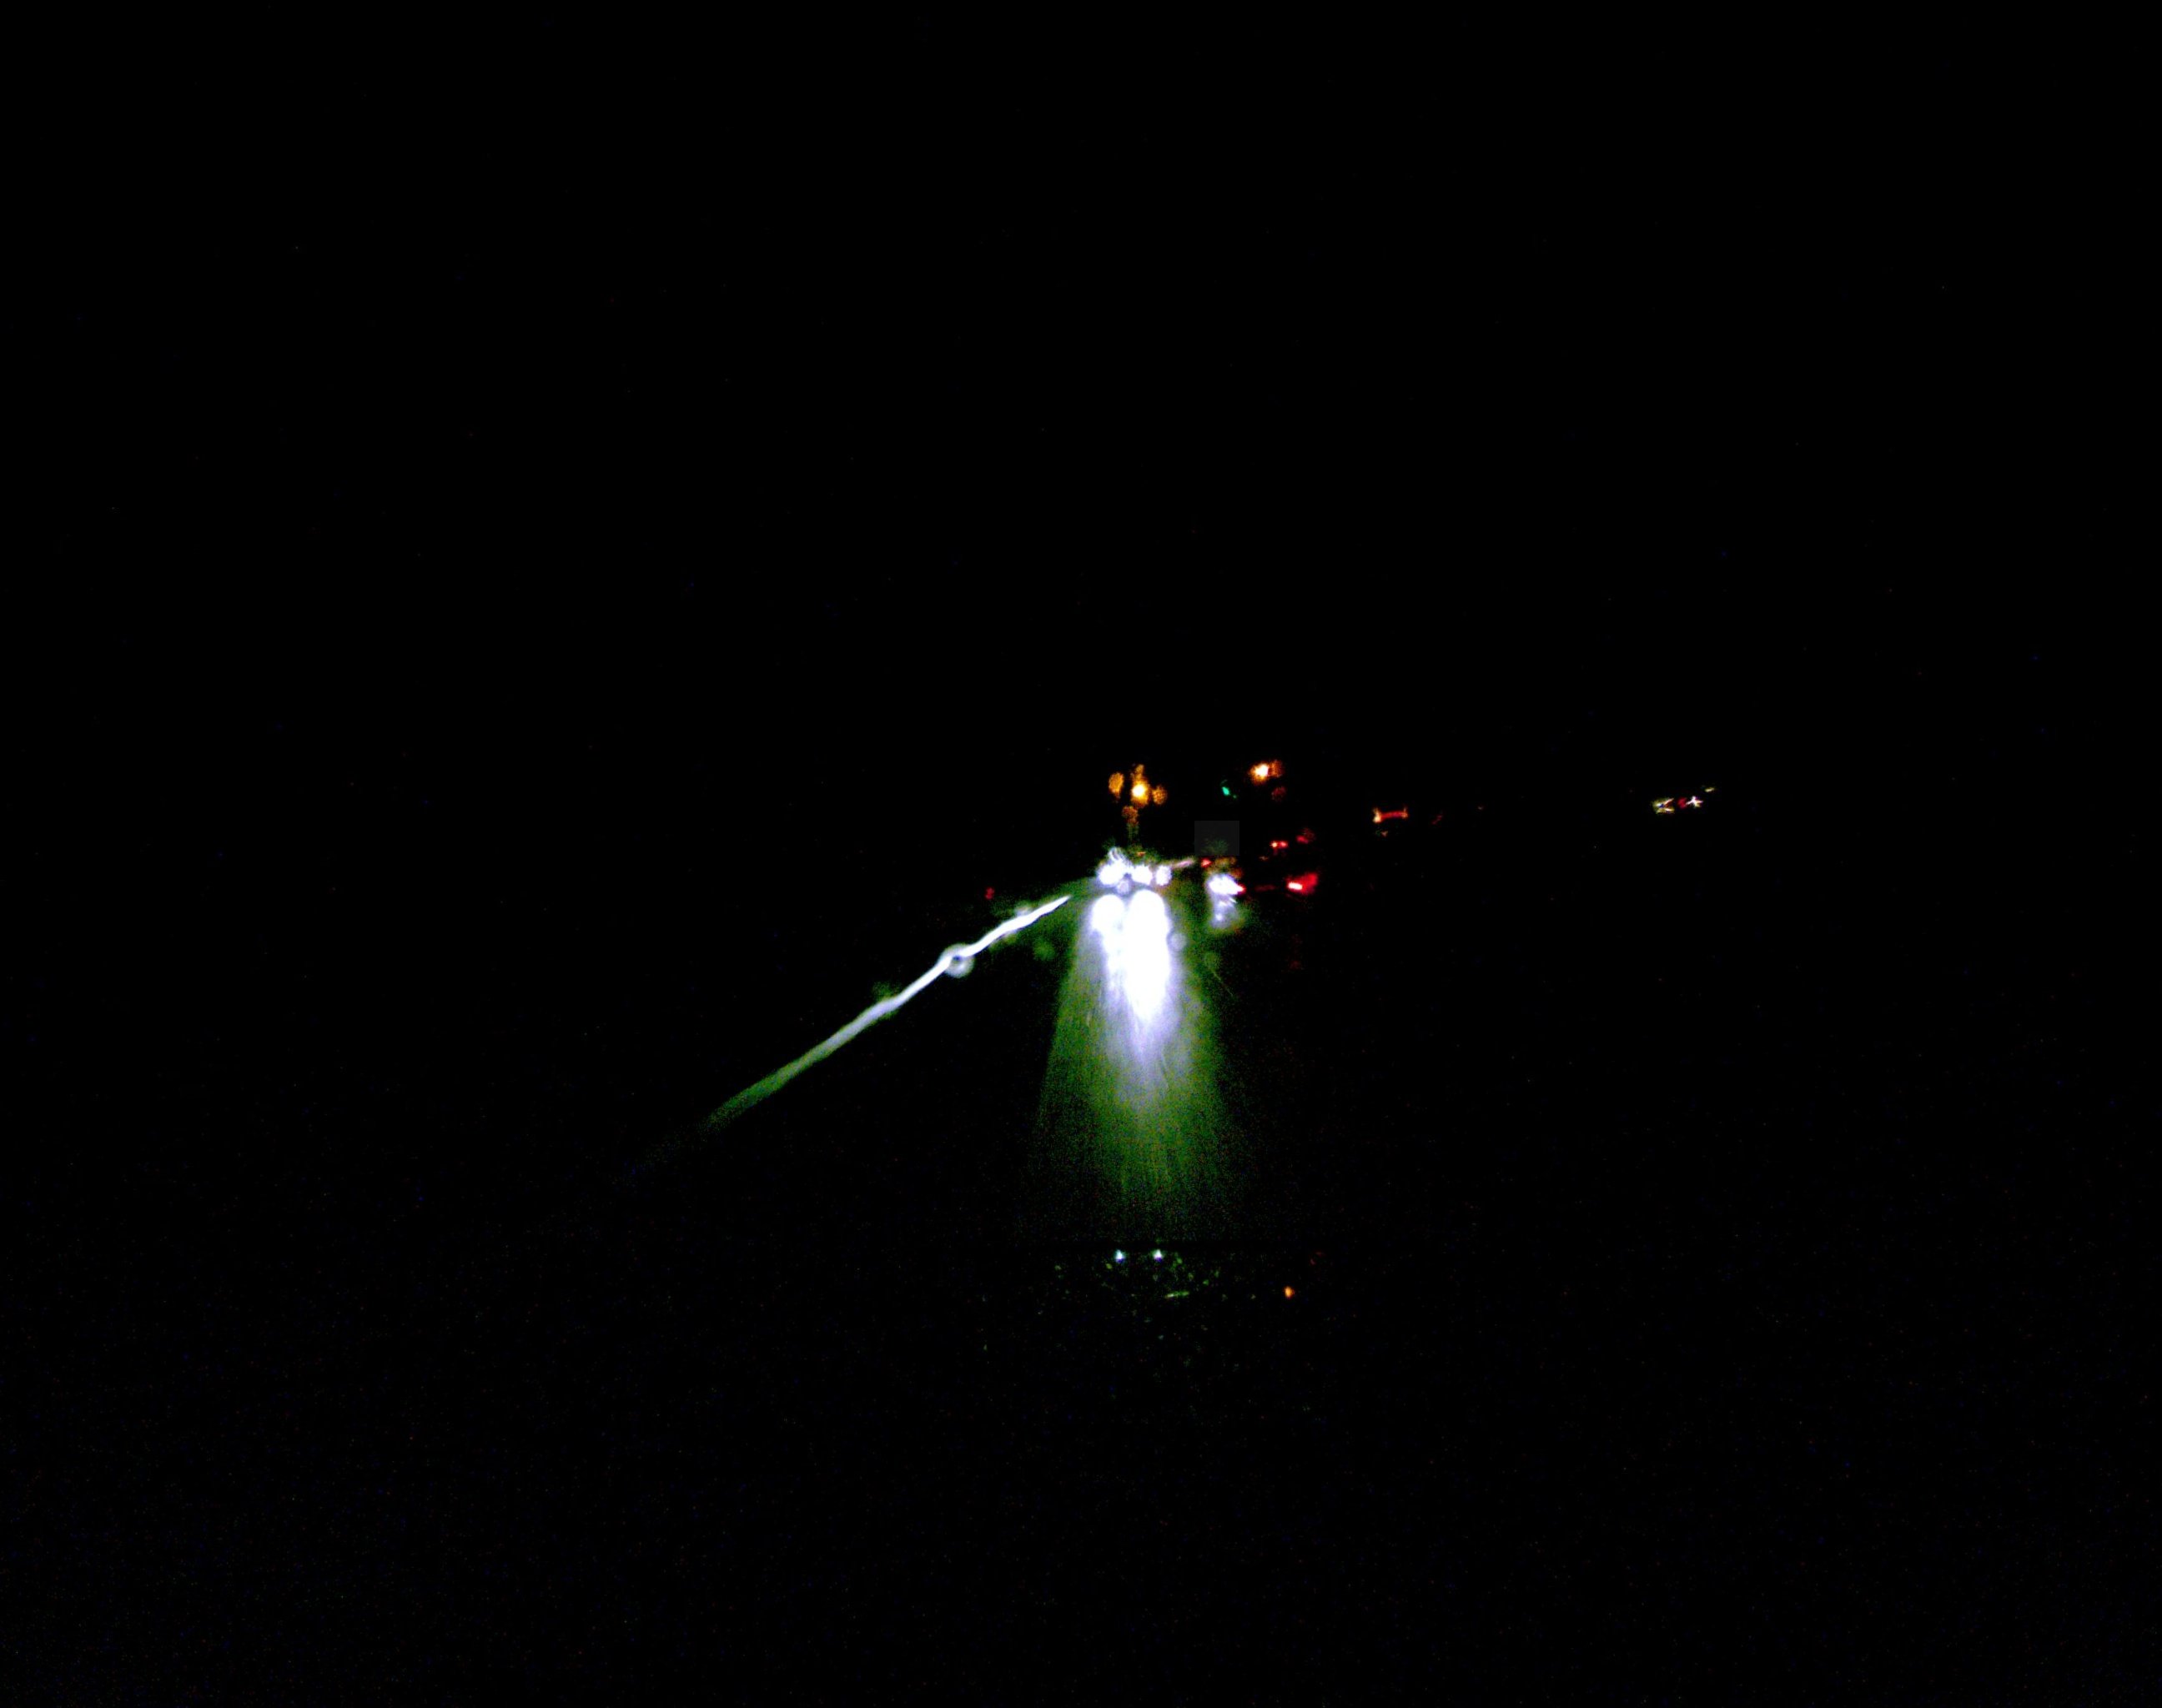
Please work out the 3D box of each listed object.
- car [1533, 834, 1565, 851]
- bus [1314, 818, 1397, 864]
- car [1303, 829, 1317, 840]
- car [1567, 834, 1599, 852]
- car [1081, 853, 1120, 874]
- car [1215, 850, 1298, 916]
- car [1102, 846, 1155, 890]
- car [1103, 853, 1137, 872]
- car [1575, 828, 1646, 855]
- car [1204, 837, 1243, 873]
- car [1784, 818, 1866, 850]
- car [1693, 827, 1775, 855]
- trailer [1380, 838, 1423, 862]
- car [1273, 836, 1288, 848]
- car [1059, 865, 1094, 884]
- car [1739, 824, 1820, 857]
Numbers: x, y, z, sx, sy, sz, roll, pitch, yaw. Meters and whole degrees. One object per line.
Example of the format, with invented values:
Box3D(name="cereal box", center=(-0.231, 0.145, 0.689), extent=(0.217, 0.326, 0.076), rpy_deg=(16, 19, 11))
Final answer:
Box3D(name="car", center=(46.661, -1.194, 75.781), extent=(1.855, 1.391, 4.046), rpy_deg=(3, 7, 44))
Box3D(name="bus", center=(25.779, -1.303, 72.346), extent=(2.900, 3.847, 13.053), rpy_deg=(-3, 2, -1))
Box3D(name="car", center=(35.563, -3.021, 117.876), extent=(1.697, 1.590, 3.805), rpy_deg=(-1, 2, 24))
Box3D(name="car", center=(48.642, -1.048, 73.544), extent=(1.855, 1.391, 4.046), rpy_deg=(3, 7, 44))
Box3D(name="car", center=(1.531, 0.726, 58.977), extent=(1.676, 1.557, 3.807), rpy_deg=(-2, 0, 23))
Box3D(name="car", center=(4.396, 0.654, 19.578), extent=(1.639, 1.501, 4.097), rpy_deg=(-1, 1, 7))
Box3D(name="car", center=(2.109, 0.574, 32.807), extent=(1.958, 1.711, 4.002), rpy_deg=(-2, 0, 7))
Box3D(name="car", center=(3.258, 0.714, 63.111), extent=(1.637, 1.390, 3.680), rpy_deg=(-2, 1, 23))
Box3D(name="car", center=(37.601, -0.922, 54.135), extent=(1.941, 1.688, 4.626), rpy_deg=(-4, 3, 2))
Box3D(name="car", center=(8.839, 0.109, 47.555), extent=(1.997, 2.001, 4.848), rpy_deg=(-4, -1, 7))
Box3D(name="car", center=(51.485, -1.416, 52.704), extent=(1.763, 2.044, 3.998), rpy_deg=(-4, 3, 0))
Box3D(name="car", center=(45.970, -0.978, 53.646), extent=(1.941, 1.688, 4.626), rpy_deg=(-4, 3, 2))
Box3D(name="trailer", center=(22.596, -0.298, 53.720), extent=(1.816, 1.668, 4.103), rpy_deg=(0, 1, 8))
Box3D(name="car", center=(26.860, -1.592, 102.101), extent=(1.637, 1.502, 4.122), rpy_deg=(0, 1, 19))
Box3D(name="car", center=(-0.341, 1.733, 66.572), extent=(1.636, 1.502, 3.681), rpy_deg=(0, 1, 24))
Box3D(name="car", center=(48.994, -1.002, 53.428), extent=(1.999, 2.044, 3.998), rpy_deg=(-4, 3, 0))
